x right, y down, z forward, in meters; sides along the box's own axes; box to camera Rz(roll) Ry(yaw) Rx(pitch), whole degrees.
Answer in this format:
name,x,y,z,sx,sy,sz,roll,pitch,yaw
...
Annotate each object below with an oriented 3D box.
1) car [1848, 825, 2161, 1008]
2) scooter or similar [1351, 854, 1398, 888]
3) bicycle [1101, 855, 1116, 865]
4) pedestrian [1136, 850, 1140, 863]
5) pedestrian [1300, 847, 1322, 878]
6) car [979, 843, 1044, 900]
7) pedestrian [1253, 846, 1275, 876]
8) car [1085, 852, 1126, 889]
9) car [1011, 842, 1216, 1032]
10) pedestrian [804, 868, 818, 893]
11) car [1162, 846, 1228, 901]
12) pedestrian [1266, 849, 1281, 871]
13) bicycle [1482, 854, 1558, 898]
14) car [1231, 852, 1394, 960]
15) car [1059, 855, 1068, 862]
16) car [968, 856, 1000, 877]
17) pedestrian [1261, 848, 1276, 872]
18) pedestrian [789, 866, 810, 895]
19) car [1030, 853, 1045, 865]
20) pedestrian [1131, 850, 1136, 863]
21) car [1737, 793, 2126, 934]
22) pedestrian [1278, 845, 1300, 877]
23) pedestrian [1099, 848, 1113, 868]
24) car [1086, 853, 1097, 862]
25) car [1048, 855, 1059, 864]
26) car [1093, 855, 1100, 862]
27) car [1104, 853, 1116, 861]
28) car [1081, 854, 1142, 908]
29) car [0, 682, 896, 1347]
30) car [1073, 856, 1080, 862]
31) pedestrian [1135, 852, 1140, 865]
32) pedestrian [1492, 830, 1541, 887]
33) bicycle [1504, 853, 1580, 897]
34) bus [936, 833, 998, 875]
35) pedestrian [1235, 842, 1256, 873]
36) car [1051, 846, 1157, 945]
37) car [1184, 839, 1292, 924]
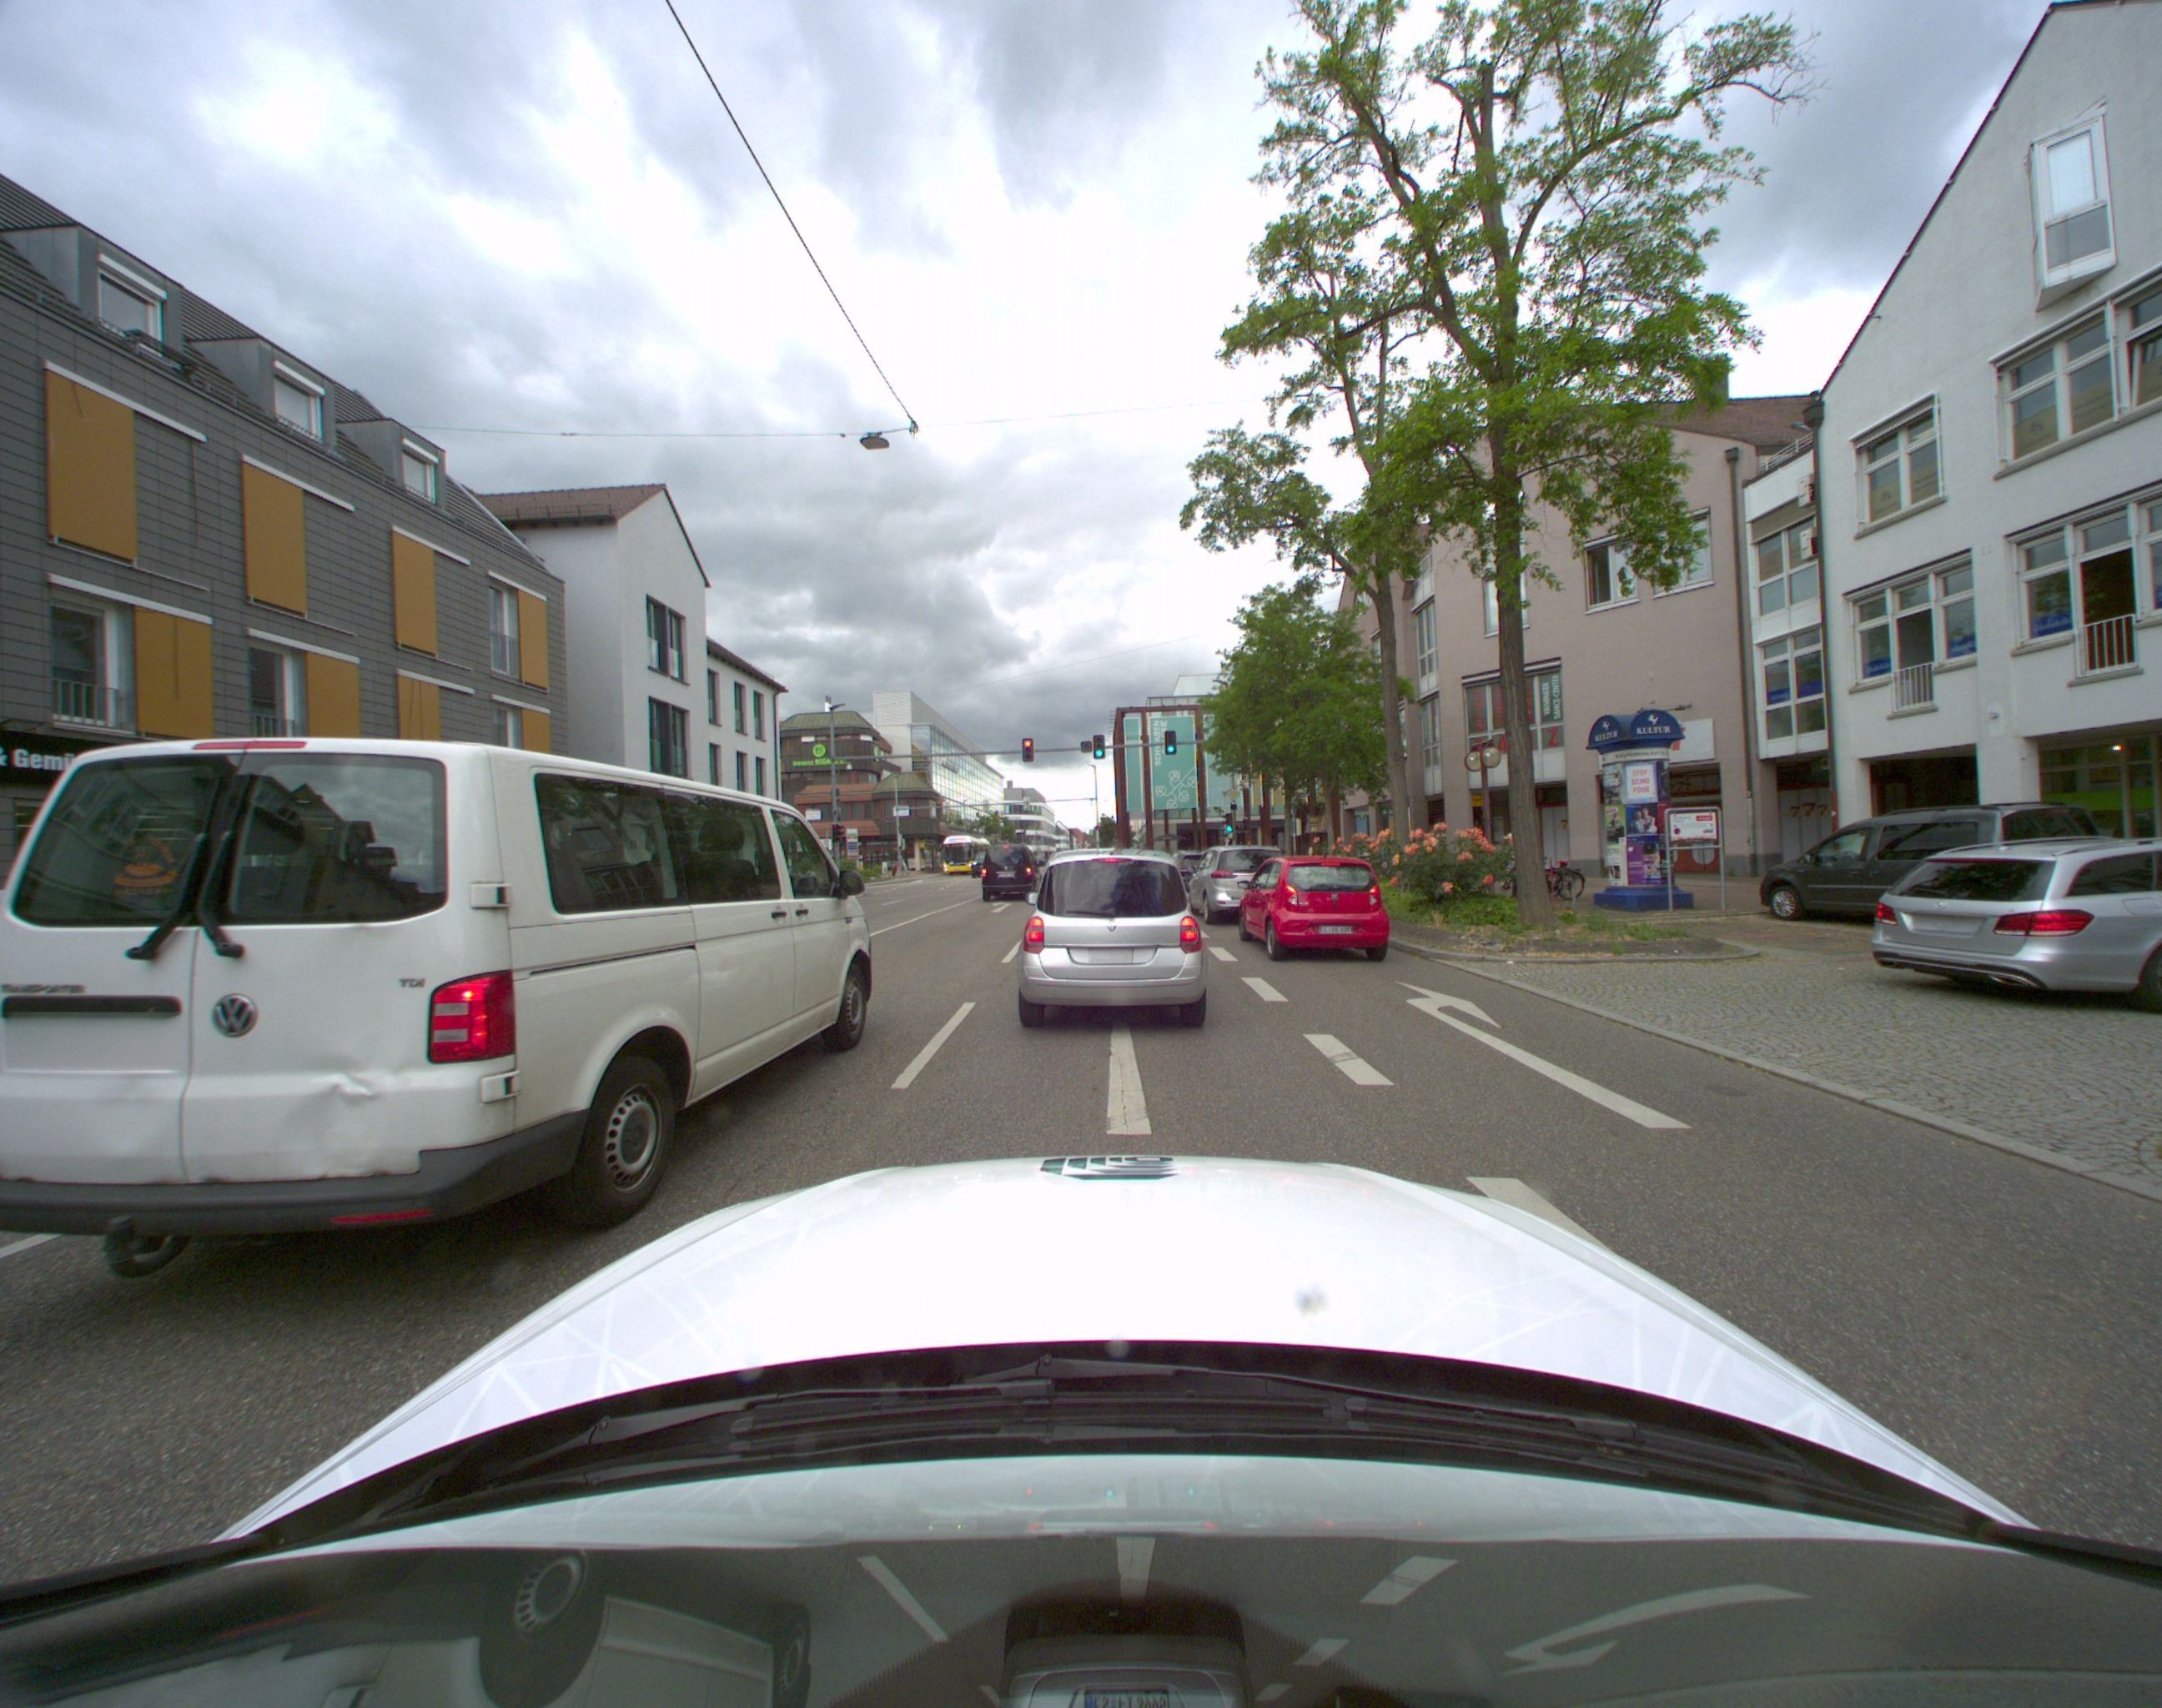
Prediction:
name,x,y,z,sx,sy,sz,roll,pitch,yaw
car,10.529,0.469,7.820,4.622,1.453,1.740,-3,0,1
scooter or similar,9.956,0.577,27.720,0.471,1.087,1.878,-2,-1,-15
bicycle,2.988,0.652,88.194,1.553,0.992,0.753,-2,0,4
pedestrian,6.816,0.286,97.769,0.425,1.549,0.481,-2,0,0
pedestrian,13.606,0.488,48.178,0.876,1.767,1.120,-2,0,-1
car,-2.306,0.555,28.164,1.701,1.820,4.573,0,0,2
pedestrian,10.386,0.387,46.263,0.876,1.681,1.120,-2,0,-1
car,1.051,0.659,34.828,1.663,1.495,3.643,0,0,2
car,0.323,0.675,8.468,1.663,1.554,3.643,0,0,2
pedestrian,-17.926,1.748,54.070,0.636,1.588,0.526,-2,0,3
car,3.713,0.597,27.226,1.733,1.701,4.382,0,0,2
pedestrian,14.336,0.473,60.640,0.818,1.595,1.039,-2,0,1
bicycle,10.748,0.542,19.958,1.549,1.048,0.409,-2,0,43
car,3.447,0.696,12.780,1.620,1.448,3.643,0,0,2
car,-3.699,0.984,177.193,1.654,1.465,4.002,-3,0,2
car,-7.175,0.923,60.651,1.752,1.448,4.037,-3,0,2
pedestrian,13.307,0.430,57.878,0.739,1.626,0.953,-3,0,-2
pedestrian,-17.848,1.659,51.667,0.944,1.755,0.945,-2,0,3
car,-5.927,0.709,111.775,1.654,1.465,4.002,-3,0,2
pedestrian,6.297,0.289,97.681,0.425,1.549,0.481,-2,0,0
car,13.195,0.124,13.110,1.729,1.804,4.260,-3,0,-1
pedestrian,11.899,0.413,46.568,0.876,1.767,1.120,-2,0,-1
pedestrian,2.019,0.340,66.789,0.861,1.646,0.685,-2,0,36
car,1.839,0.607,138.143,1.654,1.465,4.002,-3,0,2
car,-5.015,0.978,150.113,1.654,1.465,4.002,-3,0,2
car,3.744,1.056,194.733,1.654,1.465,4.002,-3,0,2
car,4.688,0.510,132.471,1.870,1.335,4.002,0,0,2
car,0.903,0.748,24.299,1.663,1.495,3.643,0,0,2
car,-2.742,0.488,4.901,1.986,2.013,4.842,-1,0,2
car,-1.292,1.306,220.805,1.654,1.465,4.002,-3,0,2
pedestrian,5.193,0.394,74.458,0.445,1.220,0.607,-2,0,4
pedestrian,12.866,0.131,24.095,0.806,1.626,1.093,-3,0,-1
bicycle,11.405,0.527,20.164,1.549,1.048,0.409,-2,0,43
bus,-10.138,-0.034,74.145,2.975,3.327,12.317,-5,0,3
pedestrian,9.350,0.188,46.356,0.876,1.681,1.120,-2,0,-1
car,0.421,0.653,14.642,1.663,1.554,3.643,0,0,2
car,3.409,0.540,18.439,1.733,1.701,4.382,0,0,2
